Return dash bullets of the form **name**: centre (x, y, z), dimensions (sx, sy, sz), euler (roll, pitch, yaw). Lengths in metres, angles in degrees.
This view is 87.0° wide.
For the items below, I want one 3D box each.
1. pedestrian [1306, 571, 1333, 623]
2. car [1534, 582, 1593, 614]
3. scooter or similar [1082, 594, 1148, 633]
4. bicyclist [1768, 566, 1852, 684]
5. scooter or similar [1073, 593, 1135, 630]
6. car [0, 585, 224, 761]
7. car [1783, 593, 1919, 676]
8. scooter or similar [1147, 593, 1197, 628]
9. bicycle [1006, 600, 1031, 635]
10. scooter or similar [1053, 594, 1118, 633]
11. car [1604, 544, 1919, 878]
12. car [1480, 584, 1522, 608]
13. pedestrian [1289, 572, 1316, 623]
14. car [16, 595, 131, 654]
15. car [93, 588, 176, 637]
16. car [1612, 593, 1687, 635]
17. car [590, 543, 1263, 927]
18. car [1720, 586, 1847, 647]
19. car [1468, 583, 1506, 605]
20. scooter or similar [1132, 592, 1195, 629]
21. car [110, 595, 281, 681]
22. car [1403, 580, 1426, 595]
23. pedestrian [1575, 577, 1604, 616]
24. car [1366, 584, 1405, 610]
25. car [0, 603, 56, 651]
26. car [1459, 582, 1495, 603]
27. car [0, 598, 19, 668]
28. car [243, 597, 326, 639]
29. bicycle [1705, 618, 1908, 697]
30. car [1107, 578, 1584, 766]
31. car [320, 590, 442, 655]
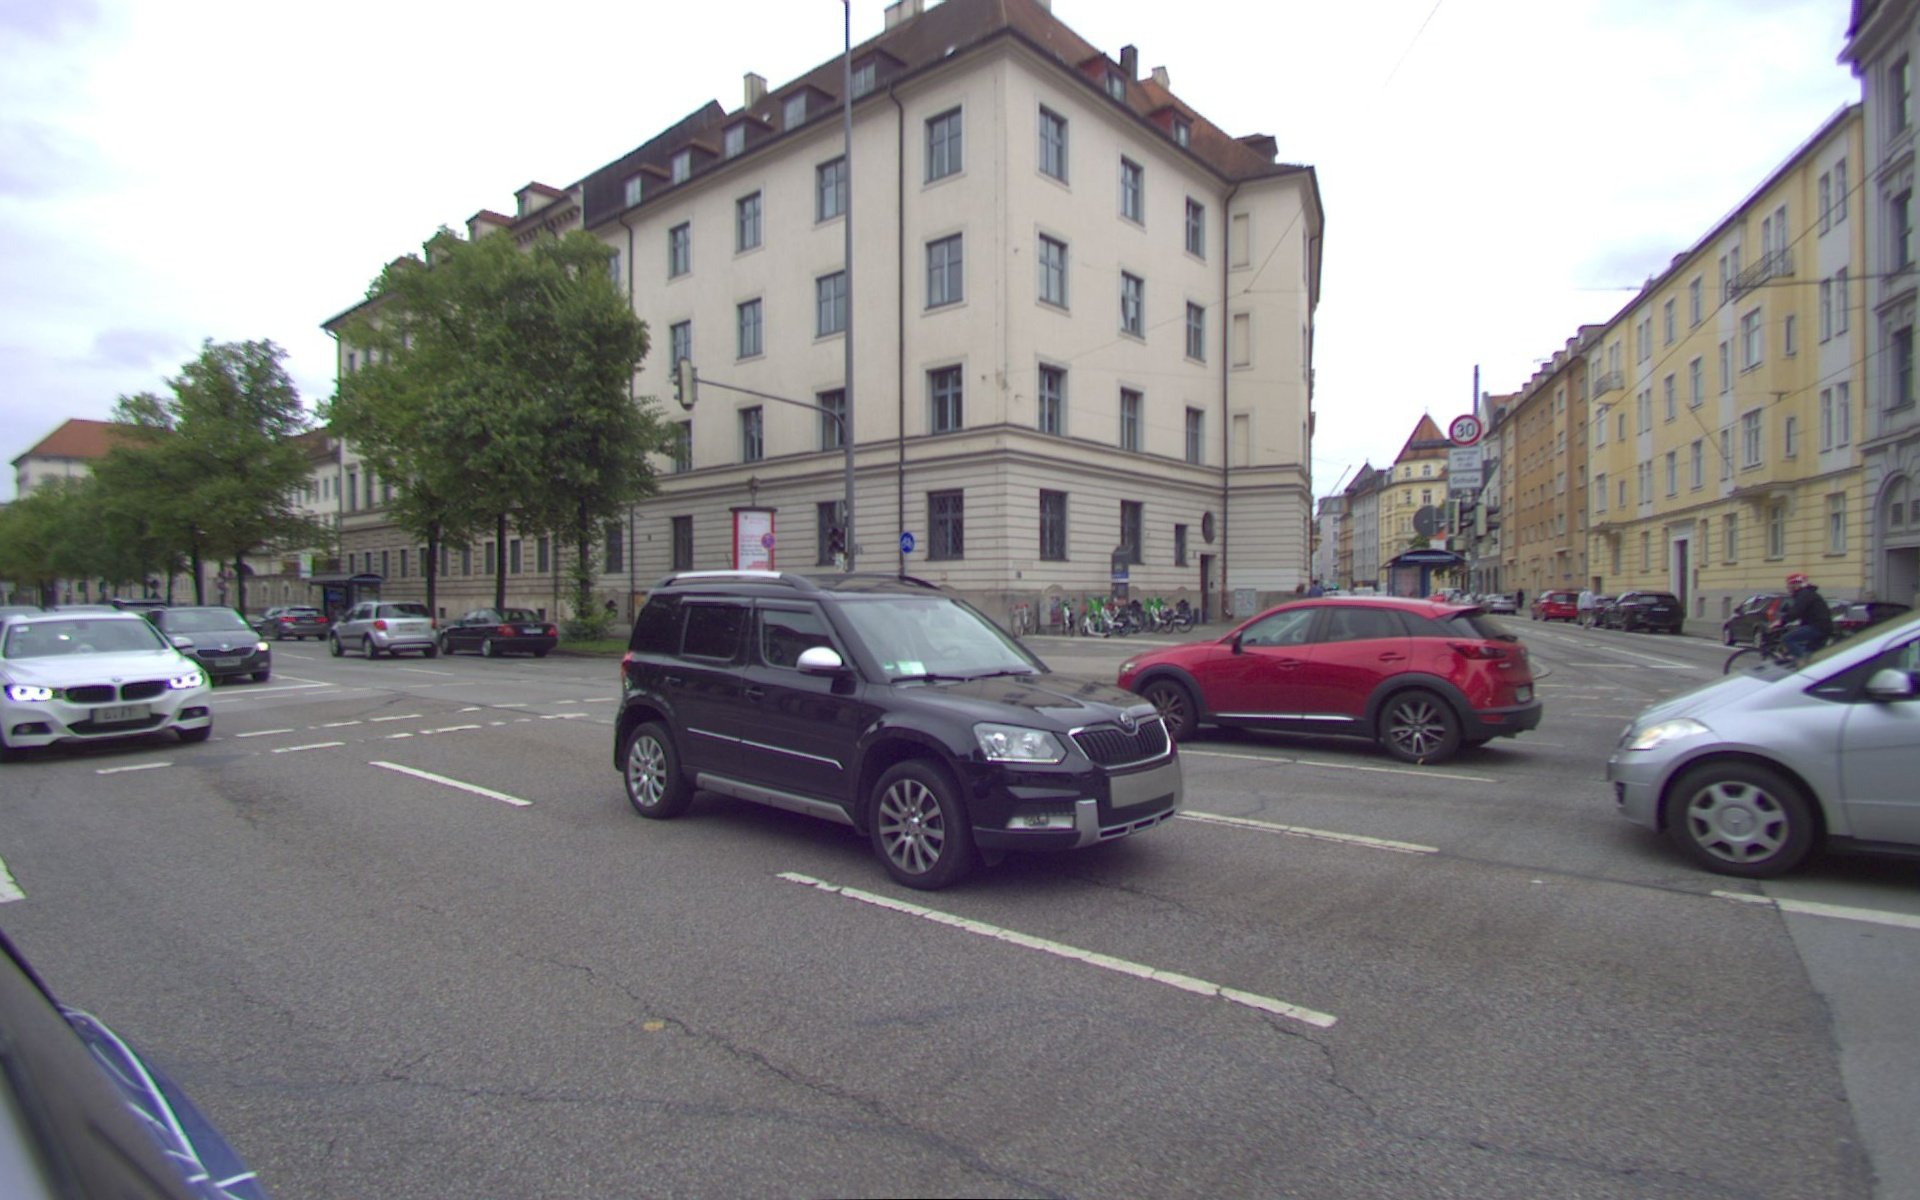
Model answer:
- **pedestrian**: centre (13.162, -0.129, 37.046), dimensions (0.660, 1.866, 0.797), euler (0, 2, 41)
- **car**: centre (32.095, -0.118, 53.927), dimensions (1.984, 1.608, 3.698), euler (0, 0, 19)
- **scooter or similar**: centre (4.736, 0.397, 30.996), dimensions (1.947, 1.127, 0.681), euler (0, 2, 42)
- **bicyclist**: centre (12.002, 0.331, 14.288), dimensions (0.892, 1.590, 0.653), euler (0, 2, 42)
- **scooter or similar**: centre (4.591, 0.351, 32.296), dimensions (0.680, 1.127, 1.950), euler (-3, 2, -43)
- **car**: centre (-10.330, 0.653, 11.747), dimensions (5.023, 1.649, 1.774), euler (1, 1, 41)
- **car**: centre (20.376, 0.715, 22.915), dimensions (1.682, 1.743, 3.547), euler (0, 0, 22)
- **scooter or similar**: centre (6.973, 0.341, 33.300), dimensions (1.546, 1.127, 0.539), euler (0, 2, 42)
- **bicycle**: centre (1.741, 0.513, 30.176), dimensions (0.399, 0.954, 1.281), euler (-2, 2, -13)
- **scooter or similar**: centre (3.798, 0.382, 30.662), dimensions (0.680, 1.127, 1.950), euler (-3, 2, -43)
- **car**: centre (5.588, 0.516, 4.938), dimensions (3.944, 1.583, 1.617), euler (0, 0, 41)
- **car**: centre (37.787, -0.300, 70.799), dimensions (1.984, 1.608, 3.698), euler (0, 0, 19)
- **pedestrian**: centre (12.679, -0.100, 37.482), dimensions (0.660, 1.866, 0.797), euler (0, 2, 41)
- **car**: centre (-24.312, 0.622, 27.697), dimensions (4.272, 1.458, 1.774), euler (1, 1, 41)
- **car**: centre (-29.226, 0.388, 35.773), dimensions (4.374, 1.598, 1.704), euler (1, 1, 43)
- **car**: centre (26.828, 0.510, 39.474), dimensions (1.682, 1.588, 3.547), euler (0, 0, 22)
- **car**: centre (-0.447, 0.555, 6.364), dimensions (4.202, 1.649, 1.705), euler (1, 1, 41)
- **car**: centre (22.400, 0.410, 27.686), dimensions (1.682, 1.530, 3.547), euler (0, 0, 22)
- **car**: centre (39.306, -0.455, 75.592), dimensions (1.984, 1.608, 3.698), euler (0, 0, 19)
- **scooter or similar**: centre (6.533, 0.326, 32.584), dimensions (1.901, 1.166, 0.681), euler (0, 2, 42)
- **car**: centre (-14.864, 0.654, 19.600), dimensions (4.272, 1.458, 1.774), euler (1, 1, 41)
- **car**: centre (50.310, -1.410, 111.997), dimensions (1.984, 1.608, 3.698), euler (0, 0, 19)
- **pedestrian**: centre (25.972, -0.129, 41.745), dimensions (0.857, 1.588, 0.871), euler (0, 0, 22)
- **car**: centre (26.923, -0.206, 64.155), dimensions (1.984, 1.608, 3.698), euler (0, 0, 19)
- **car**: centre (-31.698, 0.871, 33.735), dimensions (4.272, 1.458, 1.774), euler (1, 1, 41)
- **car**: centre (41.079, -0.618, 80.495), dimensions (1.984, 1.608, 3.698), euler (0, 0, 19)
- **car**: centre (-22.396, 0.711, 22.442), dimensions (4.272, 1.458, 1.774), euler (1, 1, 41)
- **car**: centre (-27.581, 0.692, 41.272), dimensions (4.442, 1.598, 1.705), euler (1, 1, 41)
- **bicycle**: centre (11.948, 0.778, 14.363), dimensions (2.180, 0.995, 0.655), euler (0, 2, 42)
- **car**: centre (3.754, 0.561, 10.316), dimensions (4.225, 1.541, 1.735), euler (0, 1, 41)
- **car**: centre (-15.974, 0.570, 27.838), dimensions (4.163, 1.652, 1.661), euler (0, 0, 42)
